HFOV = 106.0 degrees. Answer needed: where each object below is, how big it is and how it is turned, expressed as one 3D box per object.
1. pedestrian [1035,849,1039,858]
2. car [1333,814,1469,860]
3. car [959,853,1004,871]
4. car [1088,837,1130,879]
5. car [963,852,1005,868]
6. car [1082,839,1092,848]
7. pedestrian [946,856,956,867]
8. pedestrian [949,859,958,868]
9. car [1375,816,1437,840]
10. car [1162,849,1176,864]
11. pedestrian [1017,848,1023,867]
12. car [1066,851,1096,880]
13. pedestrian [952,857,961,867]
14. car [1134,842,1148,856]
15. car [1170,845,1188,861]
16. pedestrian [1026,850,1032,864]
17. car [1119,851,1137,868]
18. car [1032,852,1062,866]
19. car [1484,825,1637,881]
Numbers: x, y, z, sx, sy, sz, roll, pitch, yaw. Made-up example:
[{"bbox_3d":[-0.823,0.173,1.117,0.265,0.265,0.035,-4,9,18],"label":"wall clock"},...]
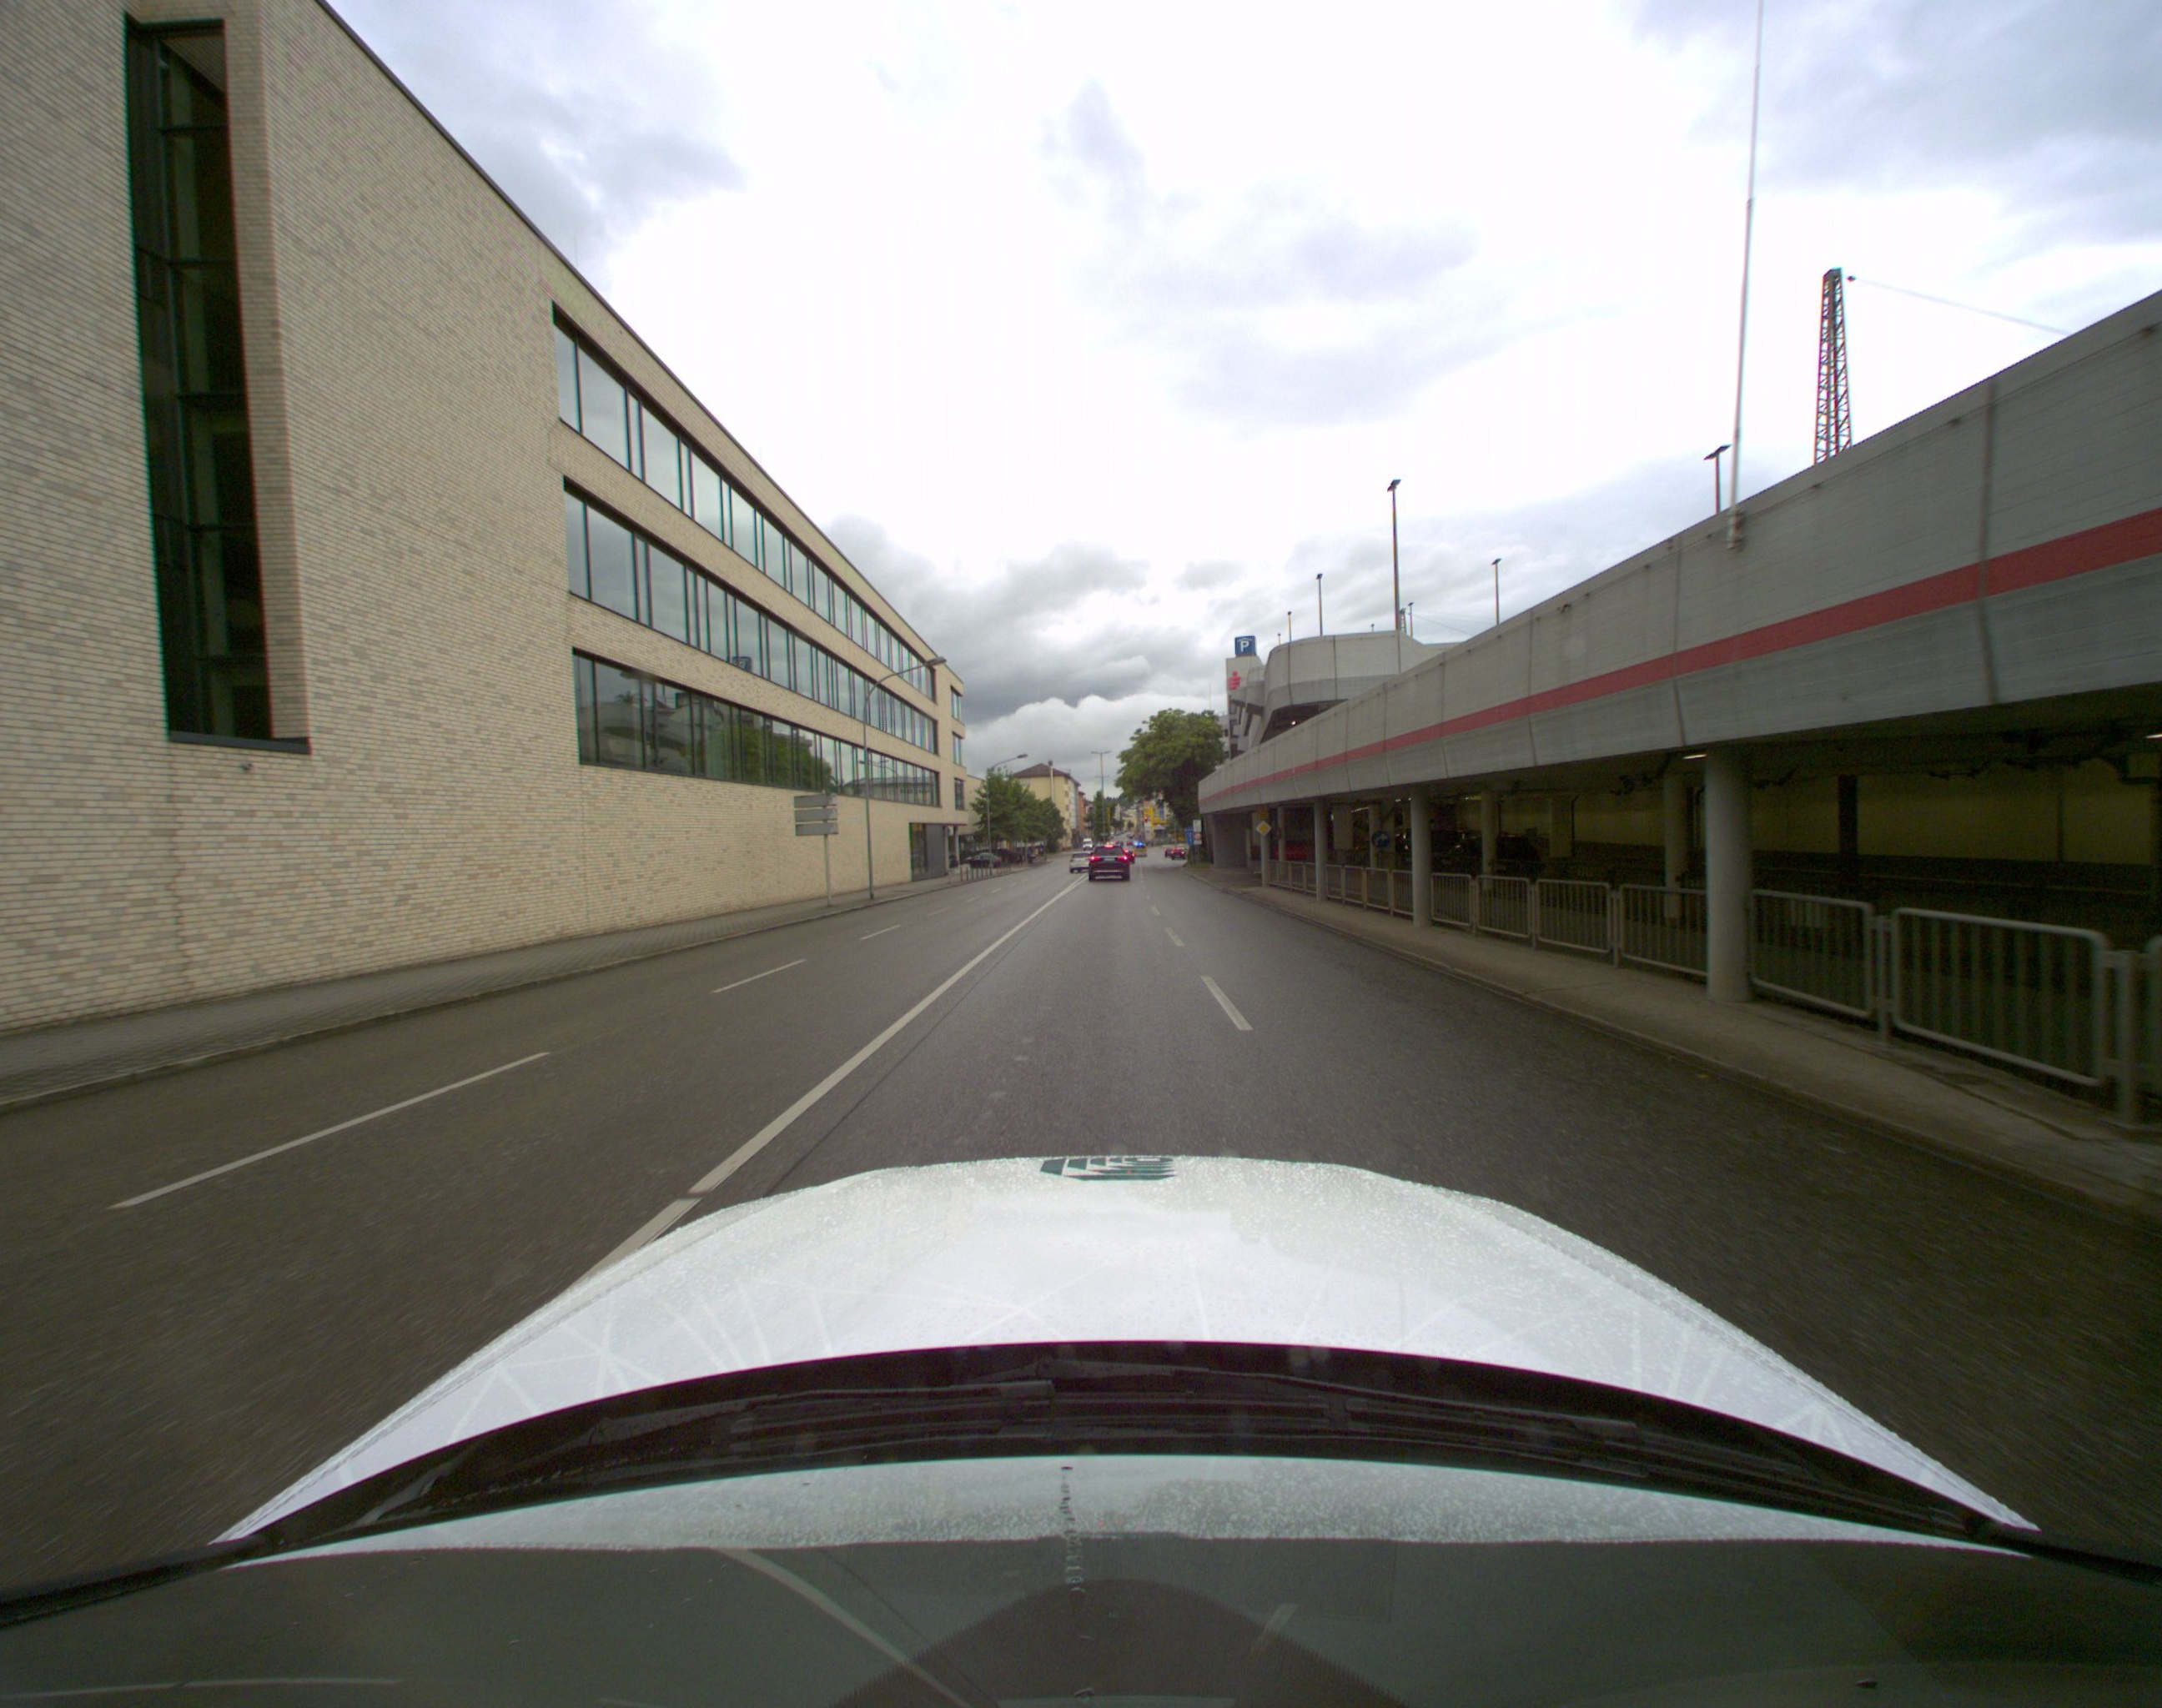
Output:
[{"bbox_3d":[-7.521,-0.087,138.693,0.708,1.462,0.599,0,-1,2],"label":"pedestrian"},{"bbox_3d":[11.962,-0.604,30.742,4.544,1.640,1.828,0,-1,13],"label":"car"},{"bbox_3d":[-10.483,0.868,85.854,4.458,1.587,1.998,-4,0,-3],"label":"car"},{"bbox_3d":[1.419,0.226,40.970,1.986,2.014,4.002,0,-1,2],"label":"car"},{"bbox_3d":[-10.528,0.622,88.789,4.404,1.573,1.999,-1,2,-2],"label":"car"},{"bbox_3d":[1.363,-2.167,175.577,1.986,1.875,5.144,0,0,2],"label":"car"},{"bbox_3d":[-10.578,0.640,66.247,0.678,0.886,0.525,0,-1,3],"label":"pedestrian"},{"bbox_3d":[-10.463,0.784,66.761,0.595,0.786,0.761,0,-1,3],"label":"pedestrian"},{"bbox_3d":[23.842,-1.874,59.795,3.960,1.640,2.007,0,-1,12],"label":"car"},{"bbox_3d":[12.844,0.374,118.648,1.984,2.128,4.006,0,-1,6],"label":"car"},{"bbox_3d":[-6.652,0.362,89.176,0.585,2.014,0.749,0,-1,1],"label":"pedestrian"},{"bbox_3d":[0.017,0.786,58.060,1.986,2.014,4.002,0,-1,2],"label":"car"},{"bbox_3d":[-10.346,0.674,67.737,0.584,0.845,0.728,-1,-1,3],"label":"pedestrian"},{"bbox_3d":[9.029,-0.747,122.547,1.986,2.014,4.002,0,-1,2],"label":"car"},{"bbox_3d":[12.741,-0.135,106.476,1.986,2.013,4.002,-1,0,2],"label":"car"},{"bbox_3d":[-6.670,0.384,105.234,0.686,1.726,0.754,0,-3,3],"label":"pedestrian"},{"bbox_3d":[4.807,0.534,83.820,1.697,1.716,3.443,0,-1,0],"label":"car"},{"bbox_3d":[-5.467,0.785,132.240,4.796,2.013,1.997,-2,1,-5],"label":"car"},{"bbox_3d":[14.987,-0.049,25.637,3.699,1.505,1.813,-3,1,11],"label":"car"}]
